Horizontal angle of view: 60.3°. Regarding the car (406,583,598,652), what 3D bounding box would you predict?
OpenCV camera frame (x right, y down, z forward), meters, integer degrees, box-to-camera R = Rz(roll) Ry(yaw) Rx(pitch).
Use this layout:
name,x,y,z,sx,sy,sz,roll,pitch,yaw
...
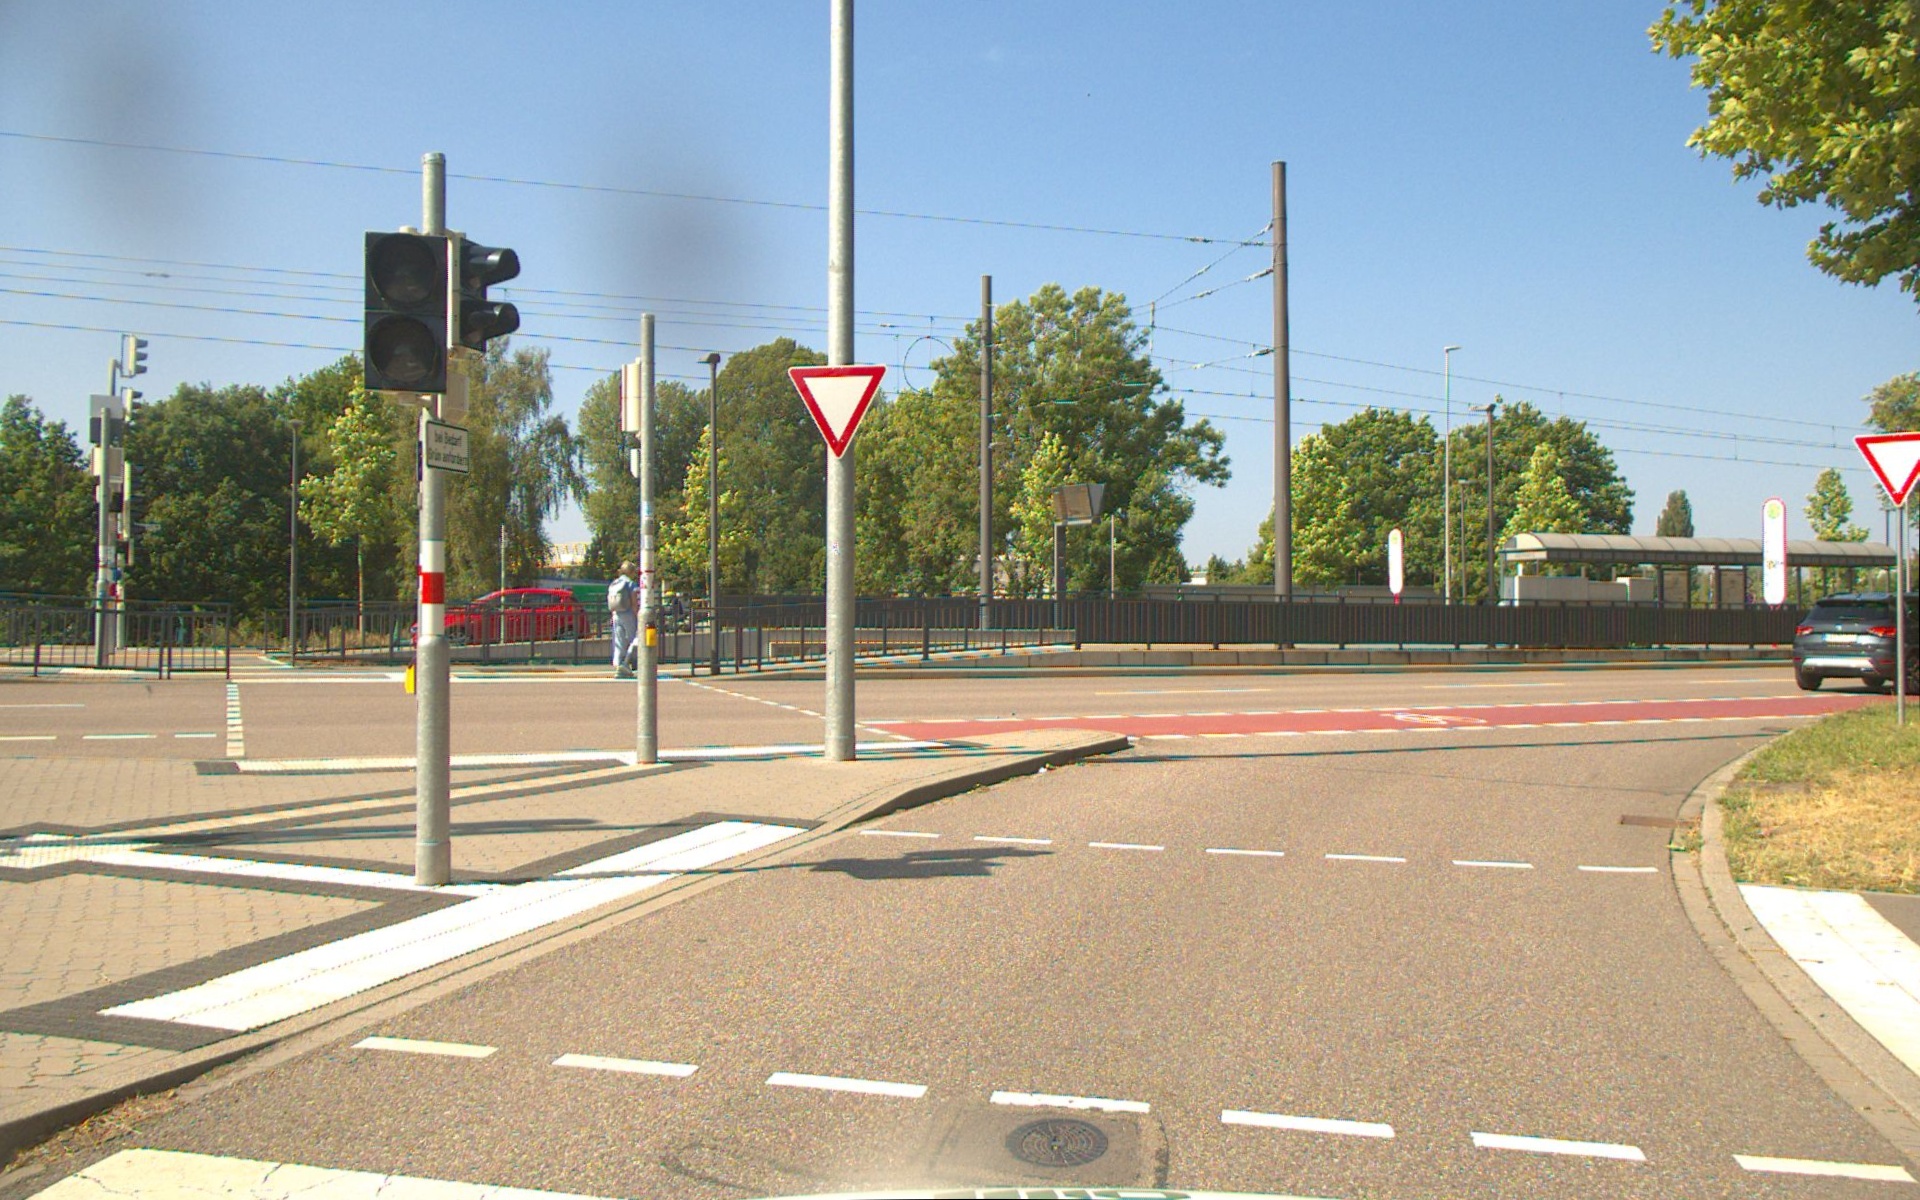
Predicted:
name,x,y,z,sx,sy,sz,roll,pitch,yaw
car,-10.392,0.379,37.585,3.941,1.470,1.731,0,1,-28

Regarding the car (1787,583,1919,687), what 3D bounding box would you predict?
name,x,y,z,sx,sy,sz,roll,pitch,yaw
car,14.832,0.541,26.418,3.342,1.550,1.653,1,0,-38

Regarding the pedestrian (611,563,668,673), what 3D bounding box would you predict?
name,x,y,z,sx,sy,sz,roll,pitch,yaw
pedestrian,-4.611,0.248,23.764,0.760,1.537,1.004,0,1,-14
